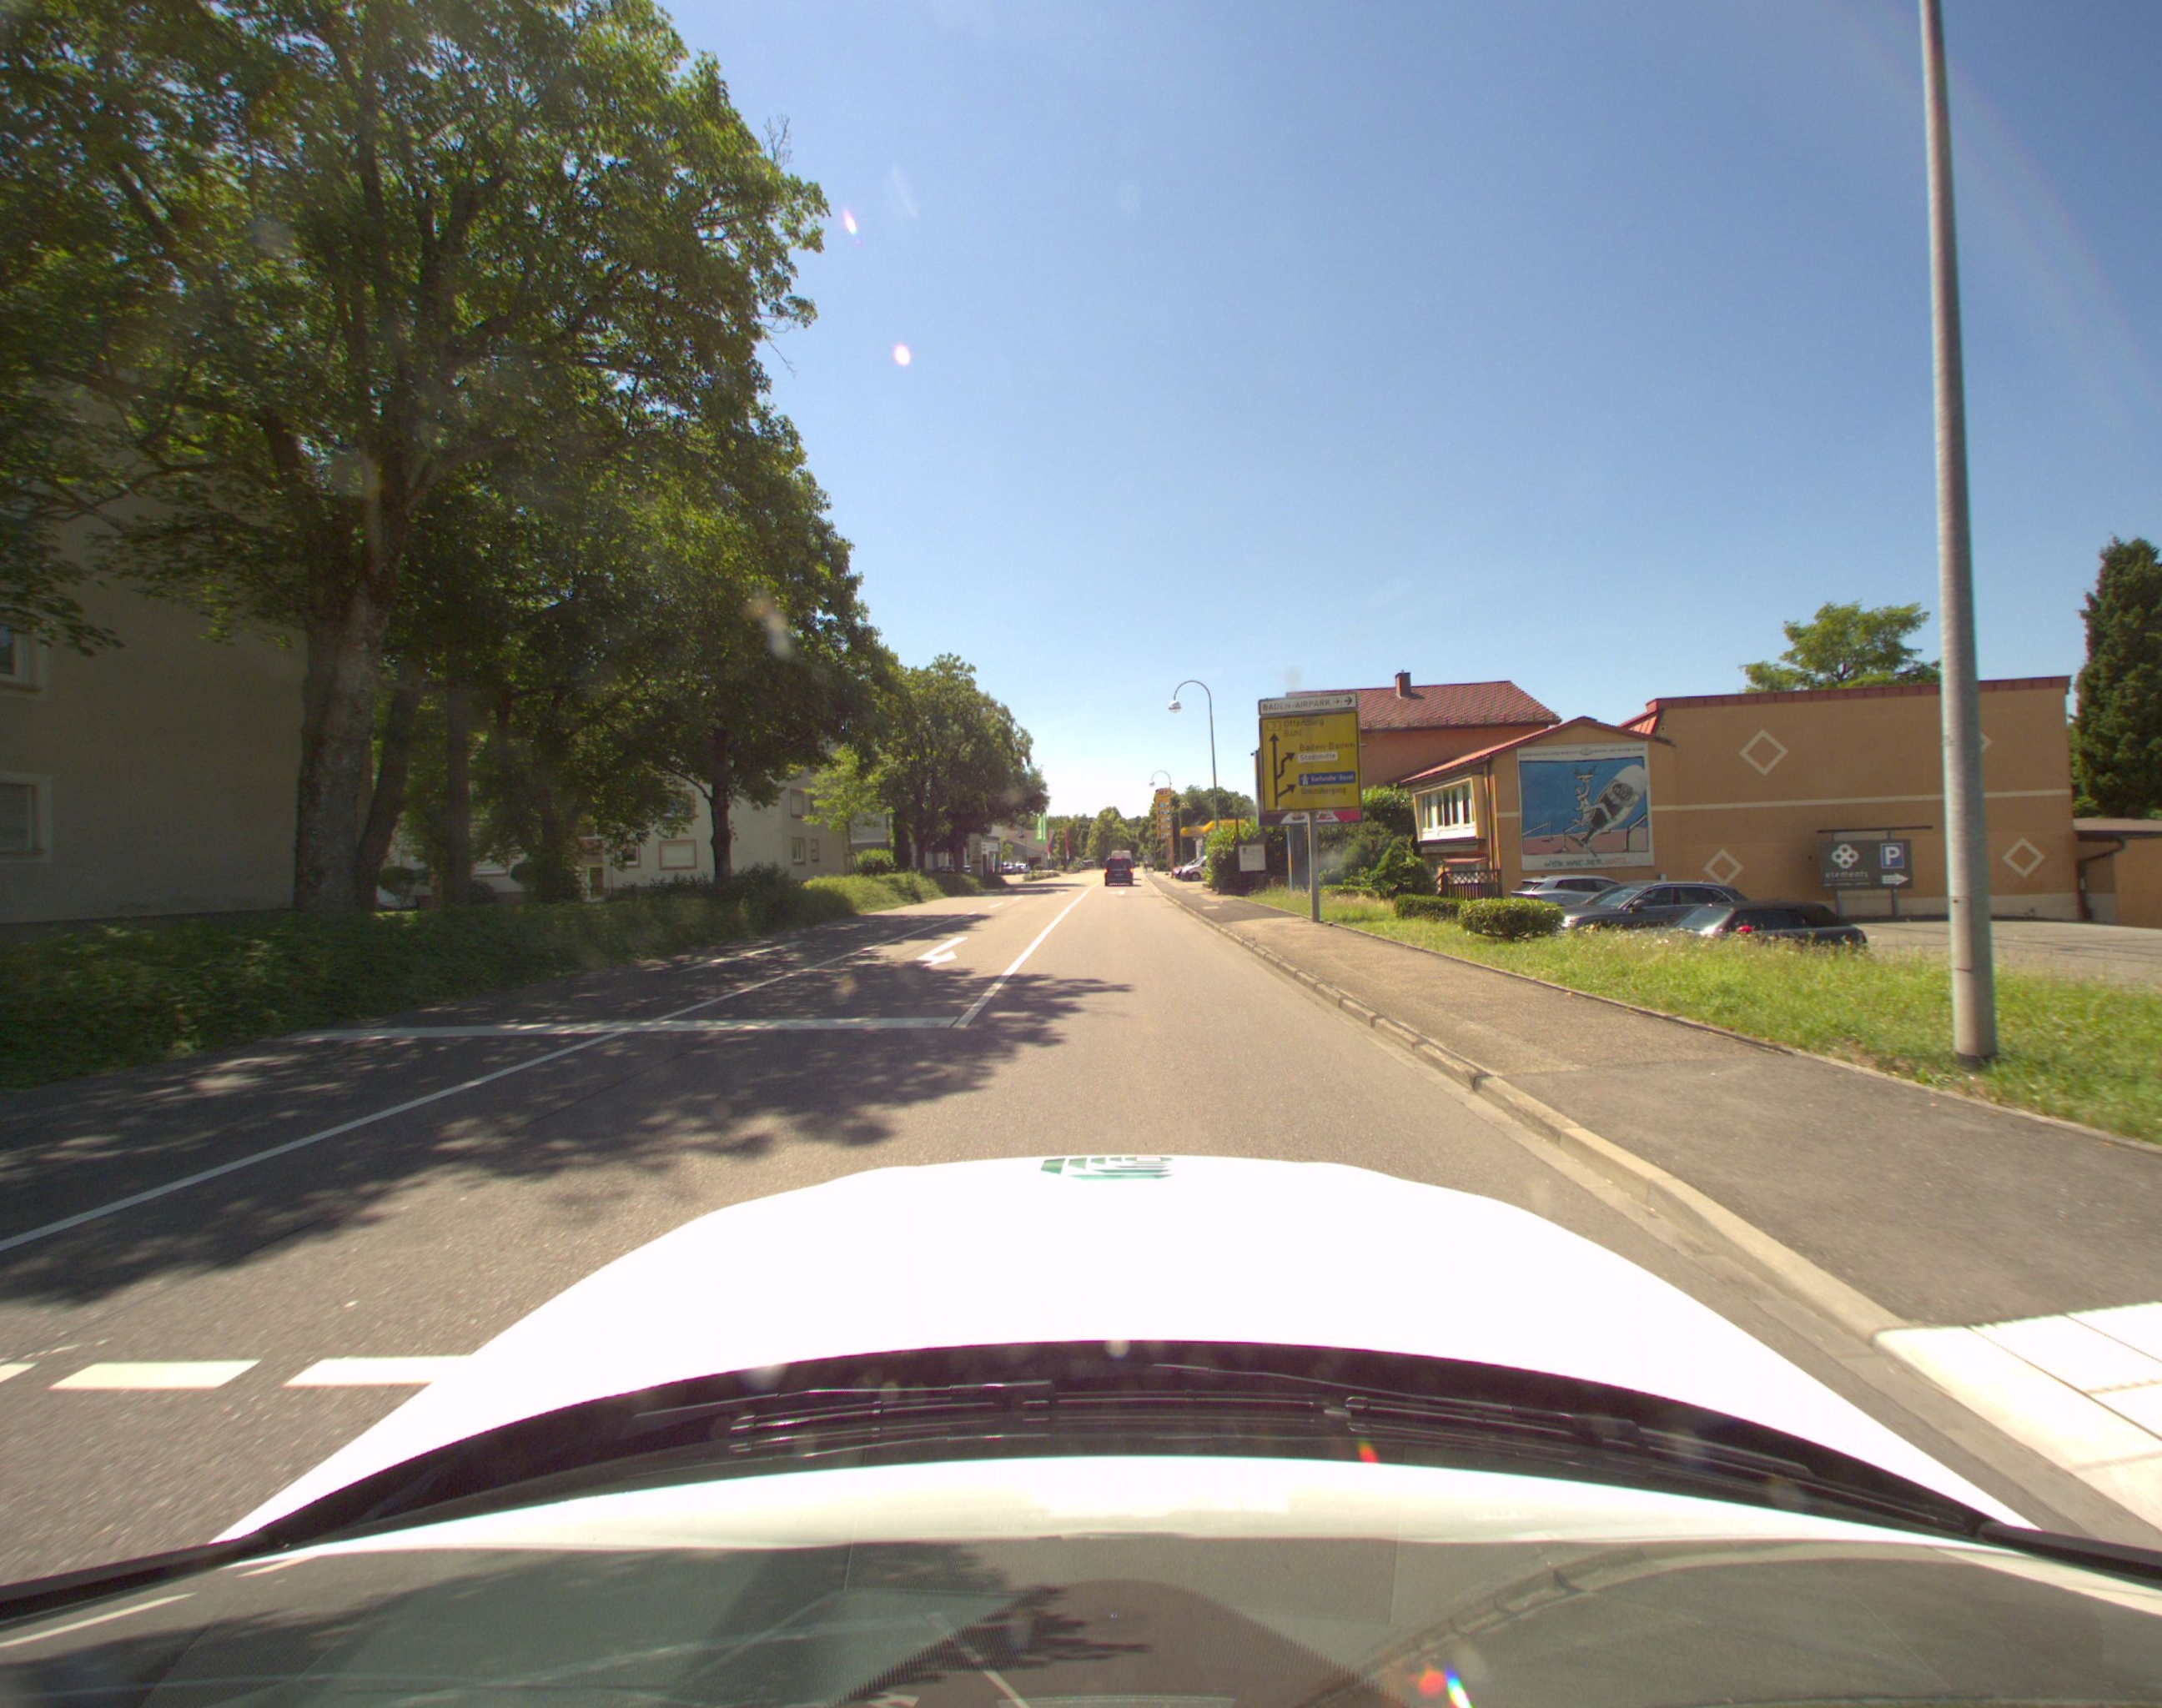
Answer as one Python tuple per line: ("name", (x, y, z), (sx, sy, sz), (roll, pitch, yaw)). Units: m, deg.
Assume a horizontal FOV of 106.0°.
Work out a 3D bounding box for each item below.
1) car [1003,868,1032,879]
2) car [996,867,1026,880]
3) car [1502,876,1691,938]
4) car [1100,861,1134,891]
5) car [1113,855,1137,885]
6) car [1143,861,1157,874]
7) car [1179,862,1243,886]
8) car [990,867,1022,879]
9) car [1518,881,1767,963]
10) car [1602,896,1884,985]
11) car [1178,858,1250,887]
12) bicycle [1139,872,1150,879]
("car", (-9.652, 2.974, 124.526), (3.960, 1.662, 2.007), (-1, 0, 12))
("car", (-10.358, 2.952, 121.142), (3.958, 1.832, 1.954), (-1, 0, 14))
("car", (14.927, 1.528, 23.798), (4.234, 1.599, 1.894), (-2, -1, 9))
("car", (2.327, 1.433, 53.854), (1.988, 1.893, 3.998), (-1, 0, -1))
("car", (3.999, 1.430, 74.717), (2.111, 2.678, 5.665), (-1, 0, 2))
("car", (14.369, 2.834, 169.544), (2.337, 2.547, 4.972), (-1, 0, 12))
("car", (9.258, 1.430, 58.269), (4.146, 1.457, 1.905), (-3, 0, -3))
("car", (-10.760, 2.755, 116.743), (4.008, 1.706, 1.912), (-1, 0, 19))
("car", (12.440, 1.479, 18.280), (4.253, 1.647, 1.891), (-1, 0, 3))
("car", (11.758, 1.513, 14.697), (3.601, 1.417, 1.702), (-1, 0, 7))
("car", (9.114, 1.243, 56.099), (4.545, 1.717, 1.998), (-3, 0, -2))
("bicycle", (9.365, 3.137, 119.862), (1.731, 0.887, 0.551), (-3, 2, -44))
